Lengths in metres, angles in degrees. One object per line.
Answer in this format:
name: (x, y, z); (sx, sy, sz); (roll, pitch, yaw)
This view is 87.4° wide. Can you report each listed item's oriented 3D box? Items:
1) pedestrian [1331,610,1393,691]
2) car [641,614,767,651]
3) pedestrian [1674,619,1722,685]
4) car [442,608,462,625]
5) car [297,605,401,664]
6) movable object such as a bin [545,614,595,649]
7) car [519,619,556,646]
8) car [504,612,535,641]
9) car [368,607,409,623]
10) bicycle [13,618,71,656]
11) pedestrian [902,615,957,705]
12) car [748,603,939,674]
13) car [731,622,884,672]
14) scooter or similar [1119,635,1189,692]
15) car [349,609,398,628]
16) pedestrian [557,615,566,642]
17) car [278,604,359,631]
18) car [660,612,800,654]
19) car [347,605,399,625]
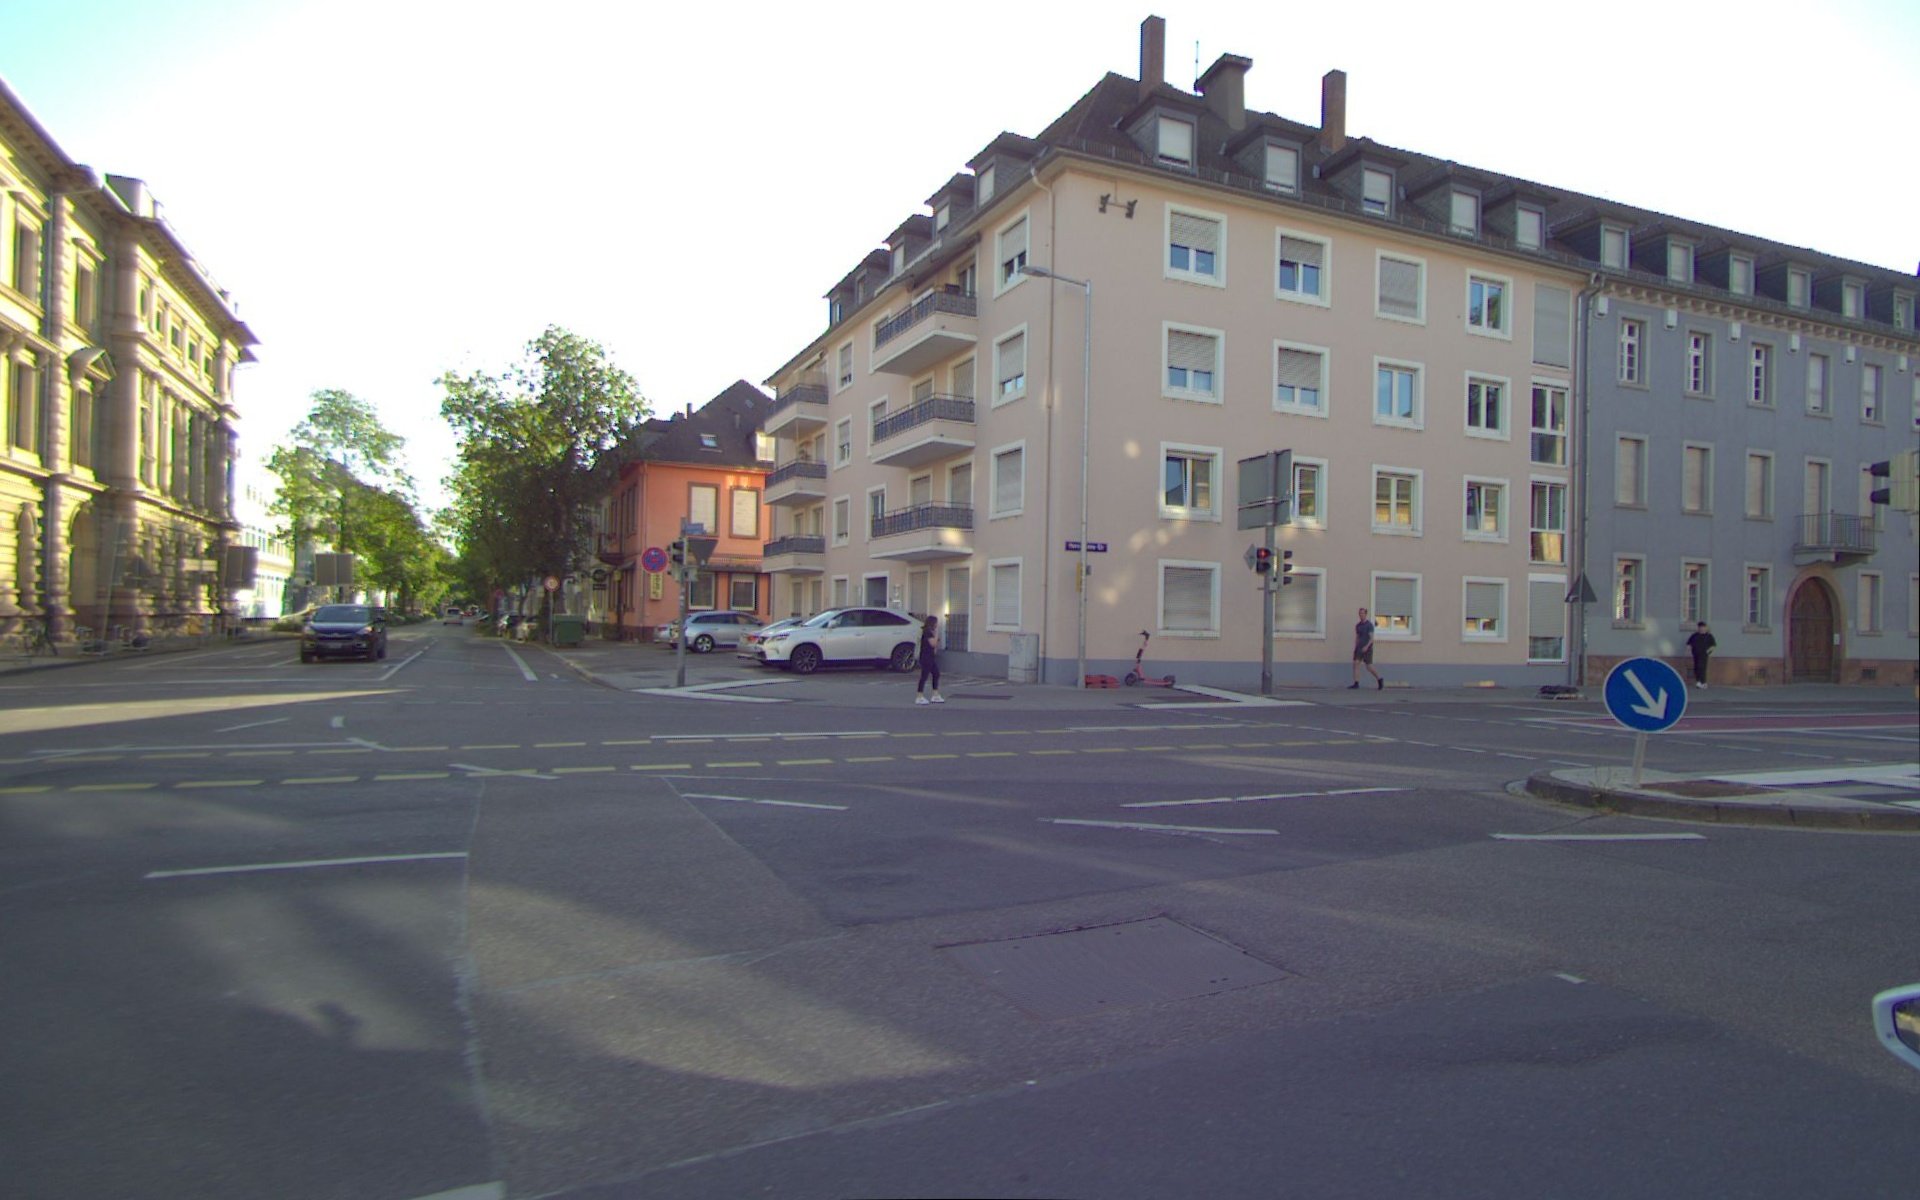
pedestrian: (9.676, 1.201, 24.192); (1.000, 1.888, 0.866); (1, 1, -21)
car: (-10.530, 1.344, 41.382); (4.723, 1.451, 1.987); (1, -1, -26)
pedestrian: (21.475, 1.511, 29.240); (0.998, 1.871, 0.630); (1, 2, -23)
car: (-53.594, 1.745, 105.958); (1.731, 1.750, 3.821); (2, -1, -26)
car: (-18.030, 1.002, 29.856); (1.972, 1.593, 4.662); (1, -1, -23)
movable object such as a bin: (-16.709, 1.349, 43.037); (1.867, 1.474, 1.104); (2, -1, -29)
car: (-23.949, 1.807, 56.896); (1.681, 1.469, 3.973); (2, -1, -27)
car: (-28.593, 1.689, 65.119); (1.697, 1.780, 3.822); (2, -1, -26)
car: (-65.782, 1.712, 115.694); (3.952, 1.718, 1.723); (2, -1, -29)
bicycle: (-24.671, 0.994, 27.030); (0.567, 0.979, 1.820); (1, -1, -24)
pedestrian: (-0.569, 1.106, 18.655); (0.806, 1.605, 0.630); (1, 2, -23)
car: (-3.028, 1.001, 26.219); (4.557, 1.708, 1.986); (1, -1, -28)
car: (-4.272, 1.297, 28.242); (3.949, 1.327, 1.600); (1, -1, -28)
scooter or similar: (4.280, 1.400, 22.201); (1.452, 1.201, 0.532); (1, 0, -22)
car: (-55.700, 1.728, 95.462); (3.952, 1.718, 1.723); (2, -1, -29)
pedestrian: (-27.731, 2.009, 69.896); (0.486, 1.867, 0.576); (1, -1, -25)
car: (-40.965, 1.125, 64.265); (4.205, 1.558, 1.817); (2, -4, -28)
car: (-8.470, 1.215, 37.071); (4.723, 1.451, 1.987); (1, -1, -26)
car: (-52.682, 1.357, 90.287); (3.953, 1.635, 1.724); (2, -4, -30)
